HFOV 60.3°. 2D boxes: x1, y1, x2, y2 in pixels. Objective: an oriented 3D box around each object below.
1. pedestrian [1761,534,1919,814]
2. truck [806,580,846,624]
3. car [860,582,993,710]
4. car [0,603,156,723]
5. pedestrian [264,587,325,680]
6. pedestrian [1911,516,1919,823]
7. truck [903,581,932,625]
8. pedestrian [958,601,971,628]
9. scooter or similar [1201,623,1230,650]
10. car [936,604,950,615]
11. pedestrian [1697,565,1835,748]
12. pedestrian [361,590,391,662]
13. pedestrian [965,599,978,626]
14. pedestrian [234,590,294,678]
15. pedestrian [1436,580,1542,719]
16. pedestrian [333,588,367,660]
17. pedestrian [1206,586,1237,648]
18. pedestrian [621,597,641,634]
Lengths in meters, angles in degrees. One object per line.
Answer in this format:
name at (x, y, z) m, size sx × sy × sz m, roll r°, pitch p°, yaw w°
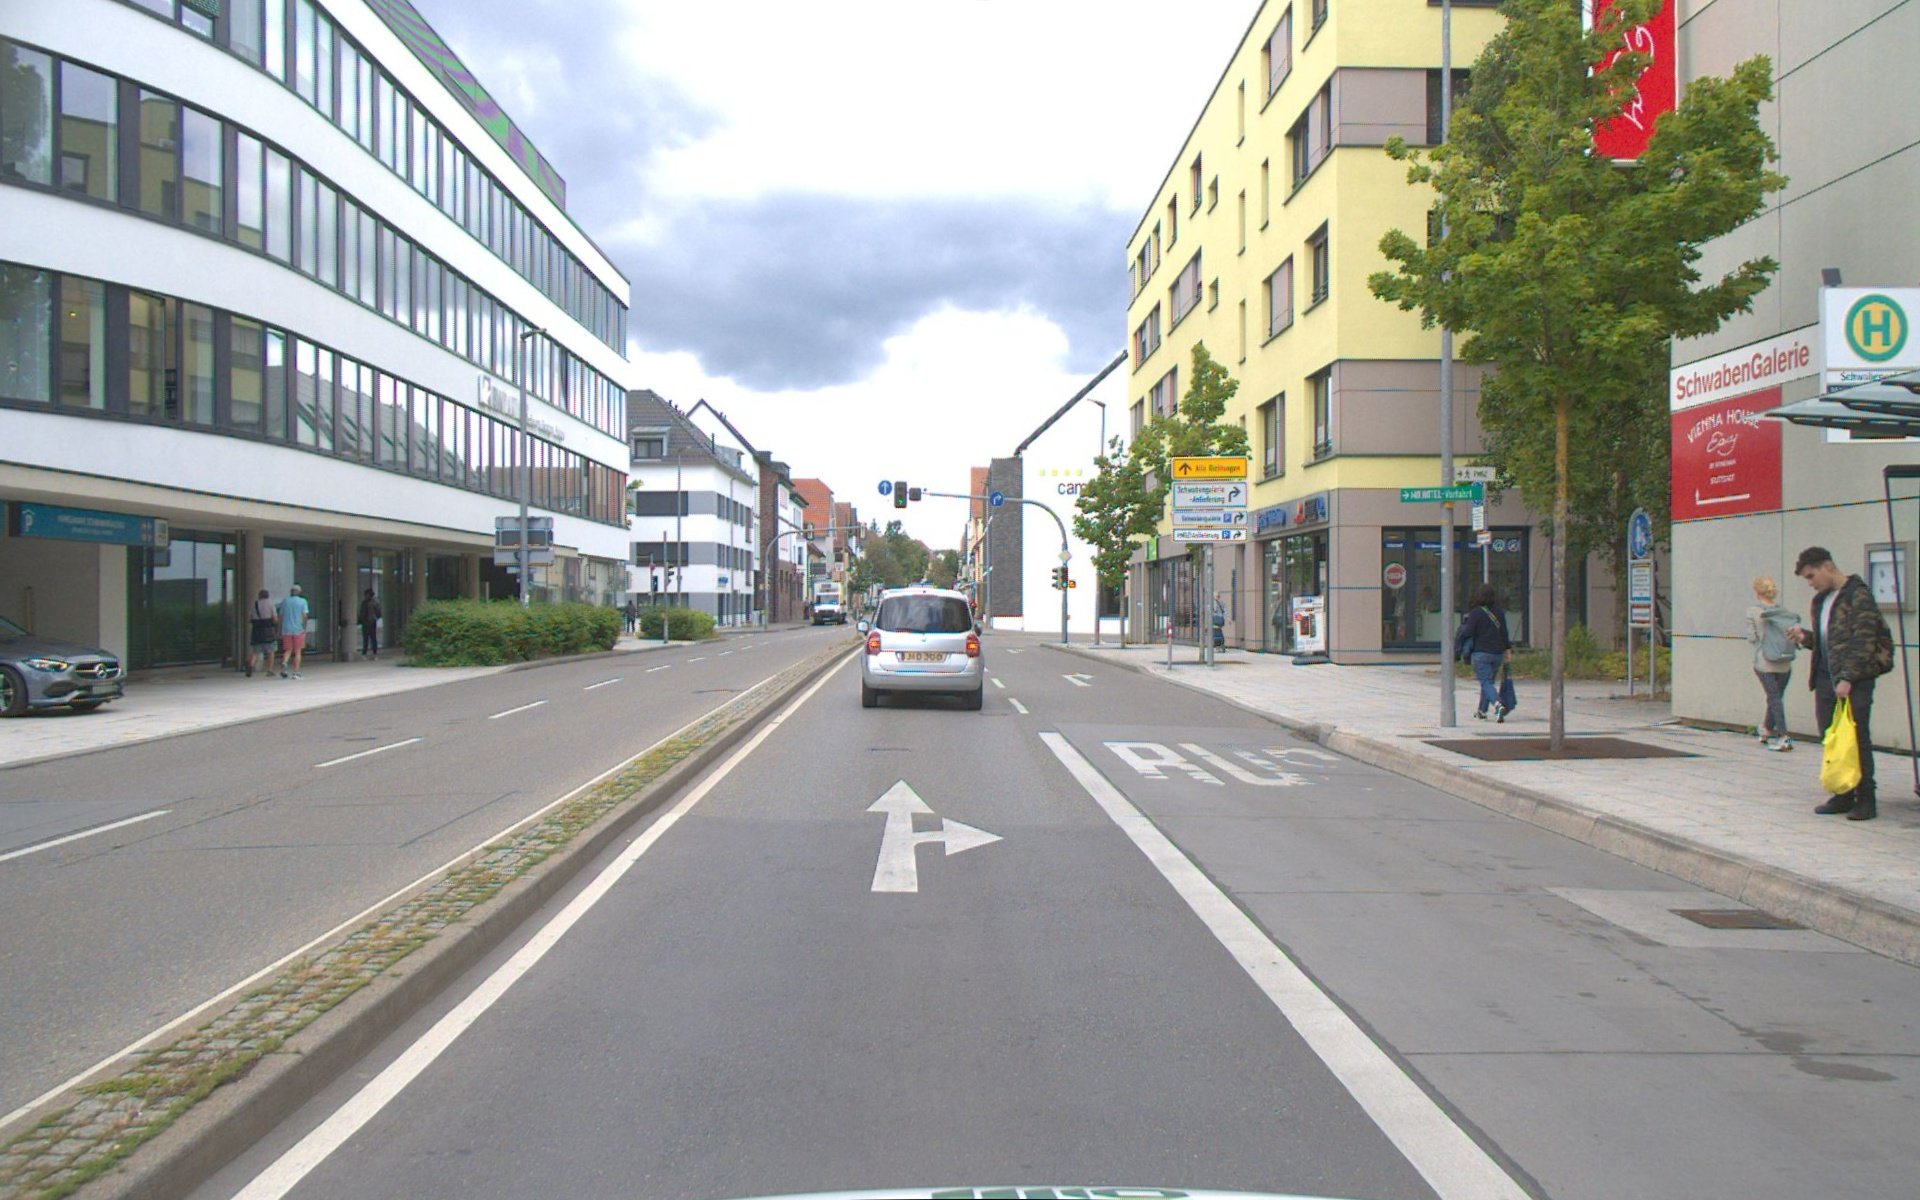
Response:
pedestrian at (5.632, 0.456, 10.528) m, size 0.705 × 1.713 × 0.733 m, roll -1°, pitch 0°, yaw 4°
truck at (-9.662, 0.138, 119.933) m, size 2.386 × 3.005 × 8.361 m, roll 1°, pitch 0°, yaw -1°
car at (-0.479, 0.598, 23.392) m, size 1.672 × 1.606 × 3.999 m, roll 2°, pitch 0°, yaw -2°
car at (-13.272, 0.756, 21.827) m, size 4.363 × 1.440 × 1.903 m, roll 2°, pitch 0°, yaw 2°
pedestrian at (-12.459, 0.619, 30.991) m, size 0.715 × 1.703 × 0.931 m, roll 1°, pitch 0°, yaw 0°
pedestrian at (5.884, 0.402, 9.314) m, size 0.567 × 1.800 × 0.857 m, roll -1°, pitch 0°, yaw 4°
truck at (-3.883, 0.287, 152.088) m, size 2.543 × 3.925 × 6.847 m, roll 0°, pitch 0°, yaw -1°
pedestrian at (0.332, 1.037, 117.613) m, size 0.871 × 1.818 × 0.785 m, roll -3°, pitch 0°, yaw -1°
scooter or similar at (6.706, 0.954, 43.399) m, size 0.580 × 0.684 × 0.824 m, roll -1°, pitch 0°, yaw -2°
car at (-2.272, 1.215, 220.077) m, size 1.776 × 1.378 × 3.999 m, roll -1°, pitch 0°, yaw -1°
pedestrian at (7.321, 0.501, 15.056) m, size 0.851 × 1.611 × 0.804 m, roll 0°, pitch 0°, yaw -2°
pedestrian at (-14.242, 0.623, 40.357) m, size 0.607 × 1.740 × 0.501 m, roll 0°, pitch -1°, yaw -32°
pedestrian at (0.814, 0.849, 113.667) m, size 0.791 × 1.818 × 0.861 m, roll -3°, pitch 0°, yaw -1°
pedestrian at (-13.370, 0.642, 31.807) m, size 0.715 × 1.641 × 0.931 m, roll 1°, pitch 0°, yaw 0°
pedestrian at (6.335, 0.579, 19.859) m, size 0.928 × 1.611 × 1.015 m, roll 0°, pitch 0°, yaw -2°
pedestrian at (-15.049, 0.598, 40.834) m, size 0.495 × 1.760 × 0.614 m, roll 0°, pitch -1°, yaw 30°
pedestrian at (6.969, 0.445, 44.134) m, size 0.681 × 1.621 × 0.603 m, roll -1°, pitch 0°, yaw -2°
pedestrian at (-15.396, 0.728, 77.365) m, size 0.866 × 1.698 × 0.811 m, roll 0°, pitch 2°, yaw -13°
